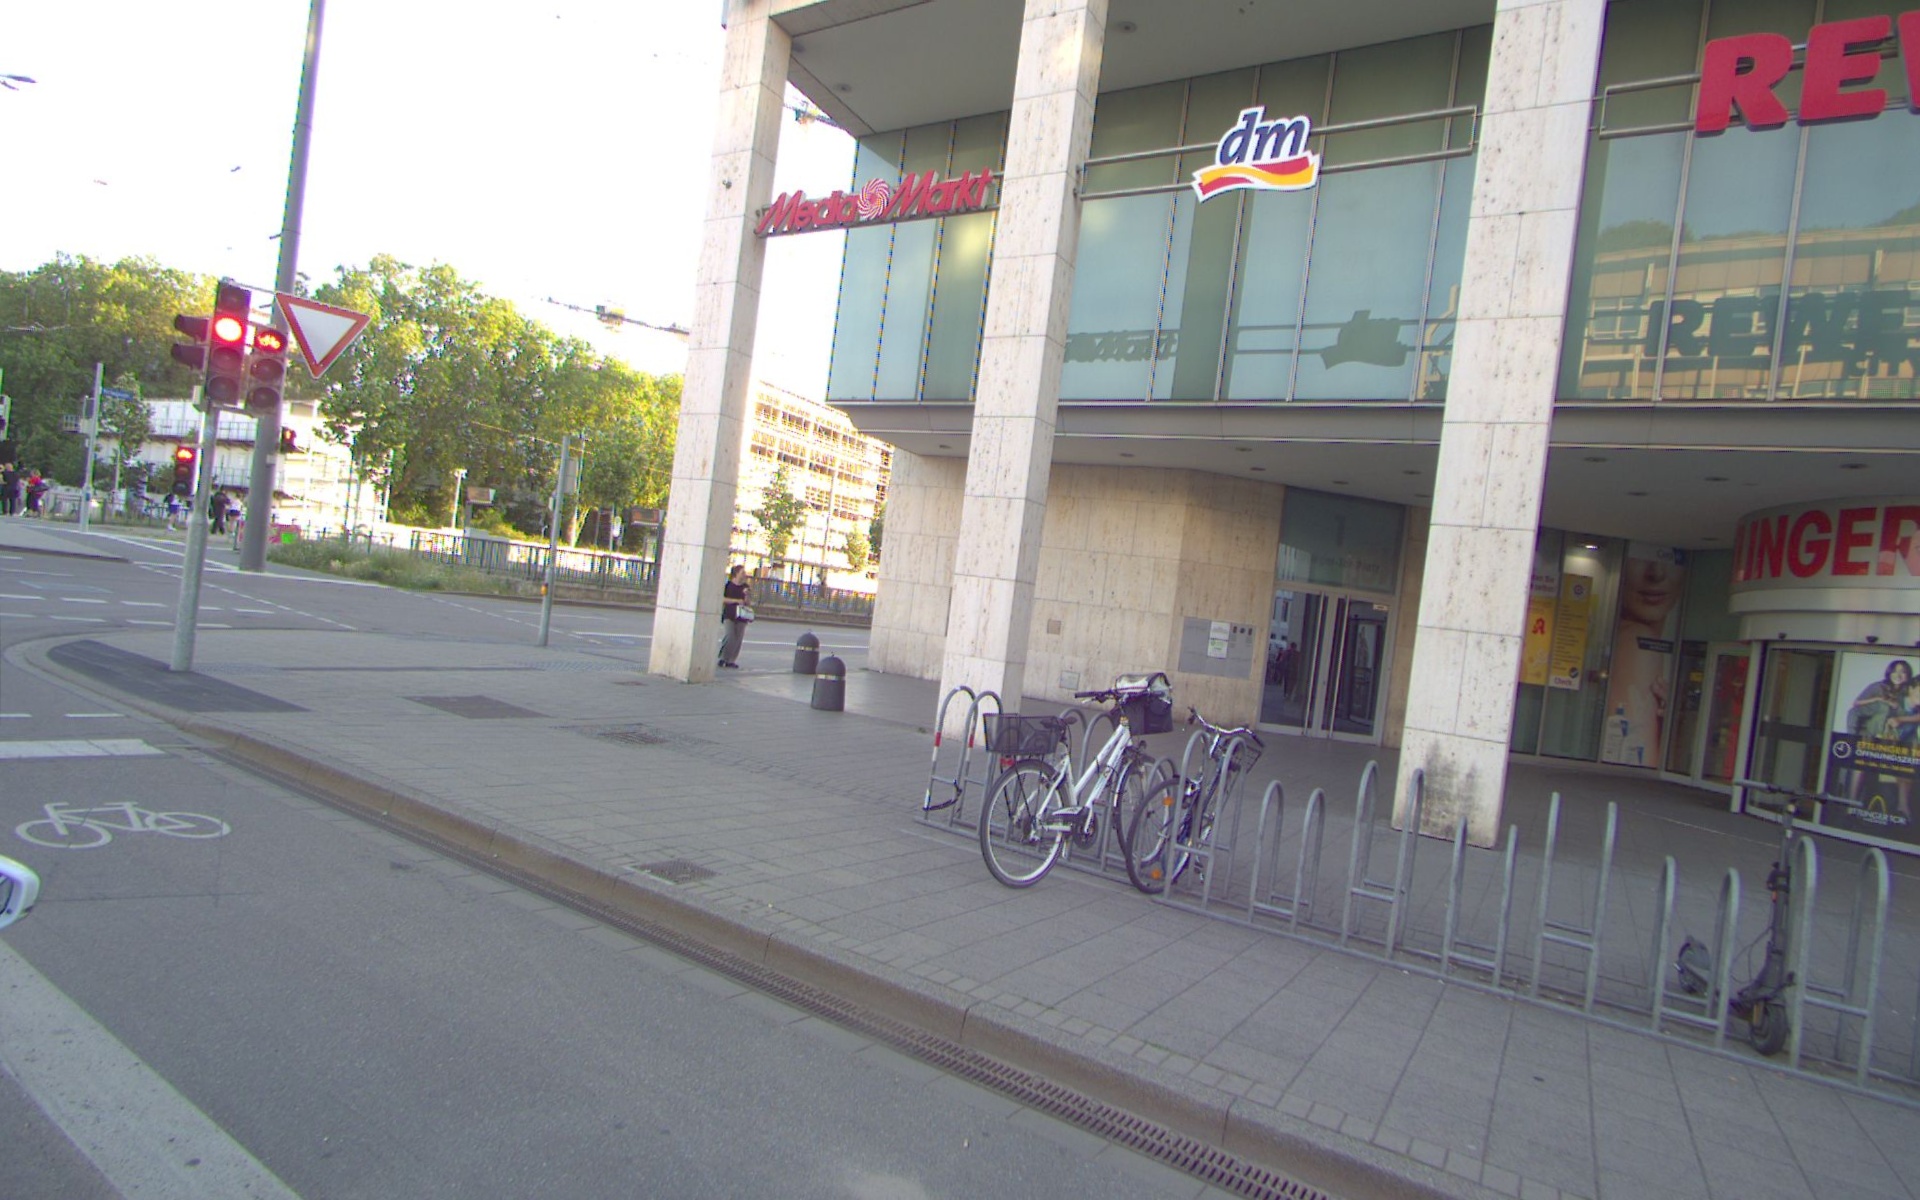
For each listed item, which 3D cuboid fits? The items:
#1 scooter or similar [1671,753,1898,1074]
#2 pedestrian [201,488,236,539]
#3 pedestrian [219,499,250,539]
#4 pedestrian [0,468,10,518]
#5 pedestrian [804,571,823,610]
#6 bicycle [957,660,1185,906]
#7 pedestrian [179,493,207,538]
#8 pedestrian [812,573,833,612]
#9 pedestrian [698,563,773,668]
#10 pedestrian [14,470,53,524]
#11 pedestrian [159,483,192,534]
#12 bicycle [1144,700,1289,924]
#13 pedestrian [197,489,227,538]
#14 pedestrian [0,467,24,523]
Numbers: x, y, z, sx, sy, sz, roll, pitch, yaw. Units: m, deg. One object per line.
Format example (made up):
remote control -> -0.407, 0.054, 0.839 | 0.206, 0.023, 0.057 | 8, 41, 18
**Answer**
scooter or similar -> 3.988, 1.442, 4.955 | 0.484, 1.214, 1.196 | 8, 1, 27
pedestrian -> -27.215, -3.179, 36.922 | 0.701, 1.746, 0.667 | 8, 1, 33
pedestrian -> -28.049, -3.130, 38.901 | 0.704, 1.459, 0.675 | 8, 1, 39
pedestrian -> -33.980, -3.807, 35.457 | 0.570, 1.699, 0.631 | 7, 1, -44
pedestrian -> -8.076, -0.533, 55.575 | 0.559, 2.039, 0.575 | 8, 1, 28
bicycle -> 0.701, 1.011, 5.924 | 0.540, 1.198, 1.479 | 8, 1, 36
pedestrian -> -29.430, -3.243, 38.587 | 0.527, 1.612, 0.571 | 8, 1, 32
pedestrian -> -7.557, -0.411, 55.297 | 0.631, 2.039, 0.626 | 8, 1, 28
pedestrian -> -3.771, 0.268, 16.921 | 0.696, 1.659, 0.791 | 8, 1, 33
pedestrian -> -32.700, -3.625, 35.490 | 0.696, 1.756, 0.843 | 8, 1, 44
pedestrian -> -29.145, -3.402, 37.393 | 0.702, 1.746, 0.666 | 8, 1, 37
bicycle -> 1.675, 1.244, 6.372 | 0.474, 1.092, 1.773 | 8, 0, 24
pedestrian -> -28.220, -3.255, 37.946 | 0.708, 1.746, 0.660 | 7, 1, -41
pedestrian -> -32.857, -3.636, 34.611 | 0.803, 1.814, 0.790 | 7, 1, -44
